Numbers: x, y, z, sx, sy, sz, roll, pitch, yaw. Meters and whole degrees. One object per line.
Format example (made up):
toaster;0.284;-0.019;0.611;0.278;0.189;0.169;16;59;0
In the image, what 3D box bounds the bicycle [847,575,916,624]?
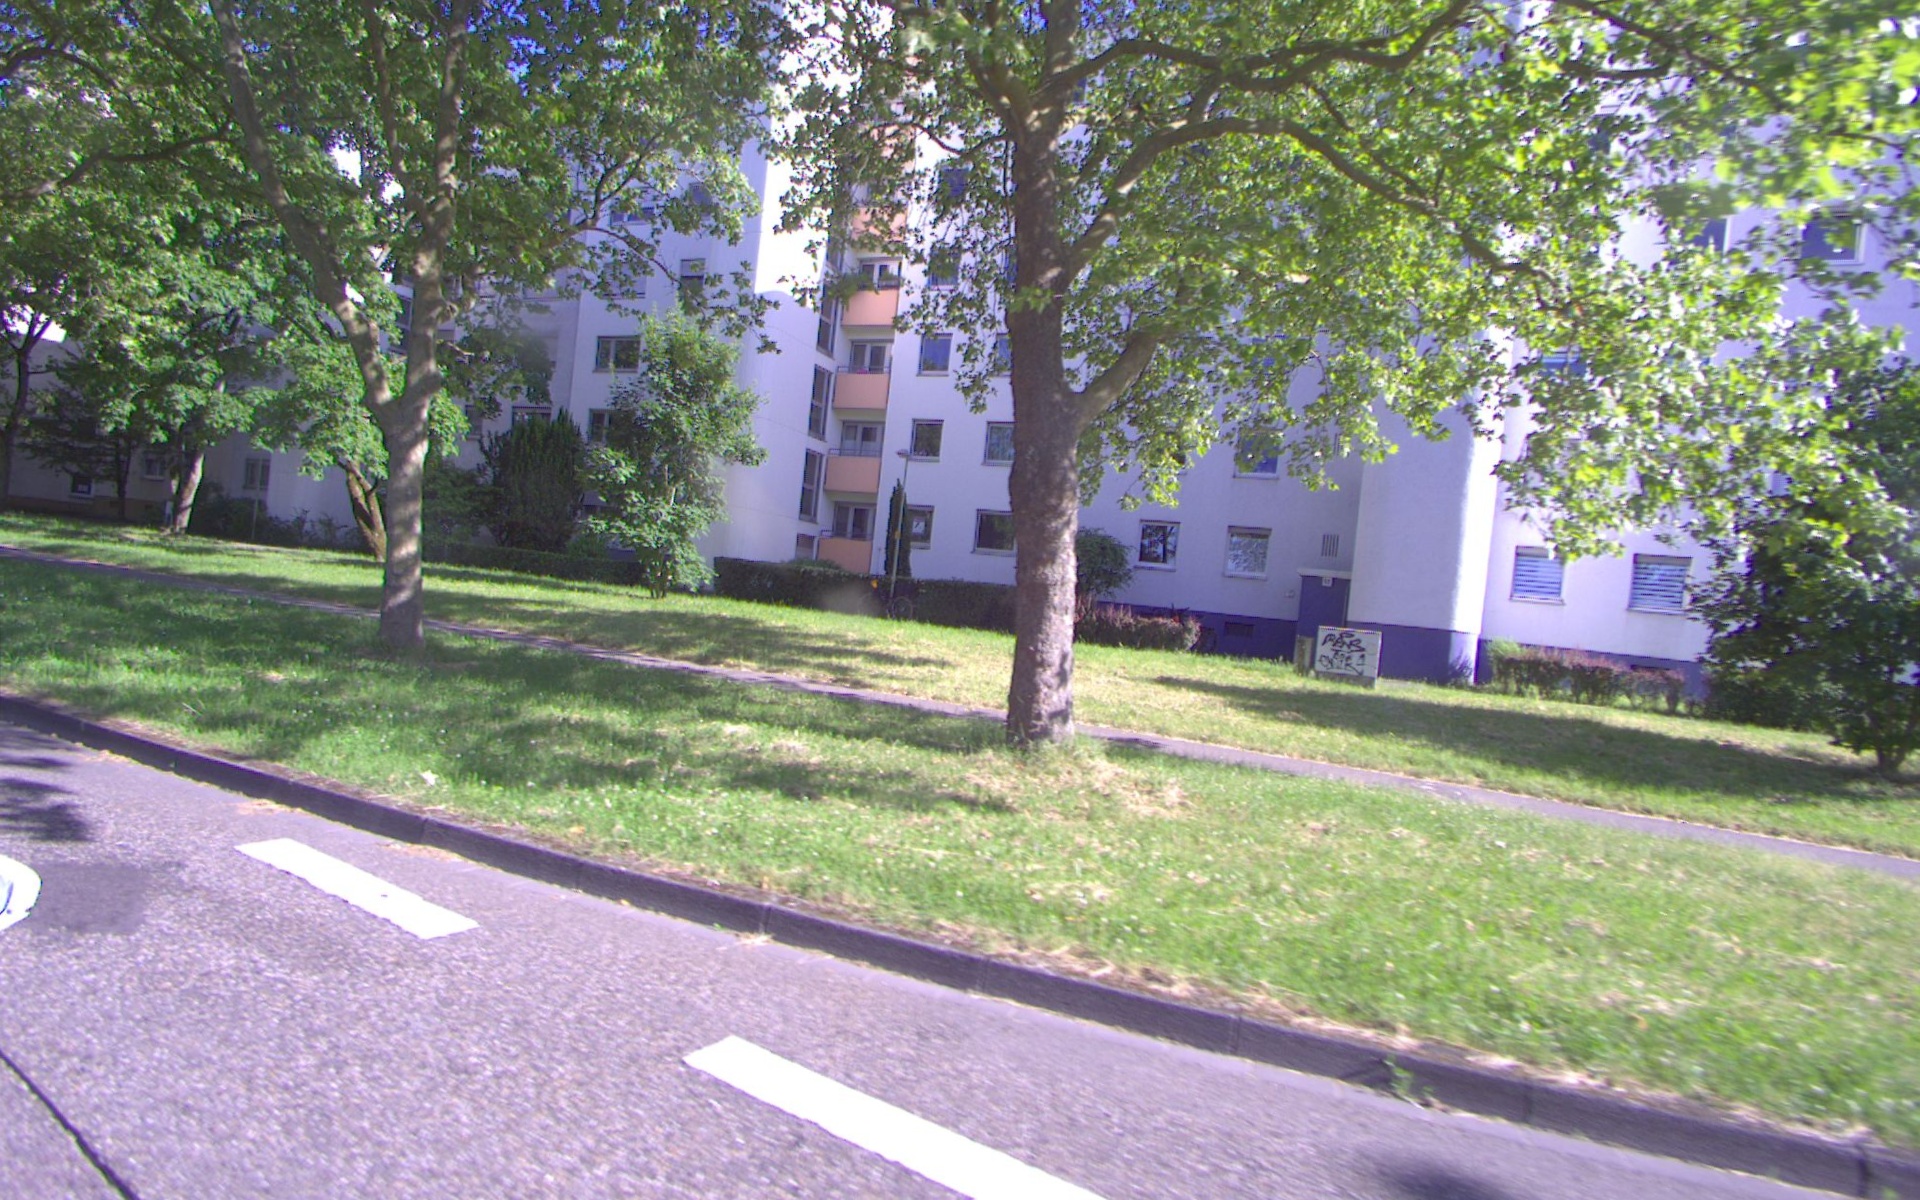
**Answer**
bicycle;-2.124;-0.021;27.149;1.767;1.124;0.499;7;6;23
